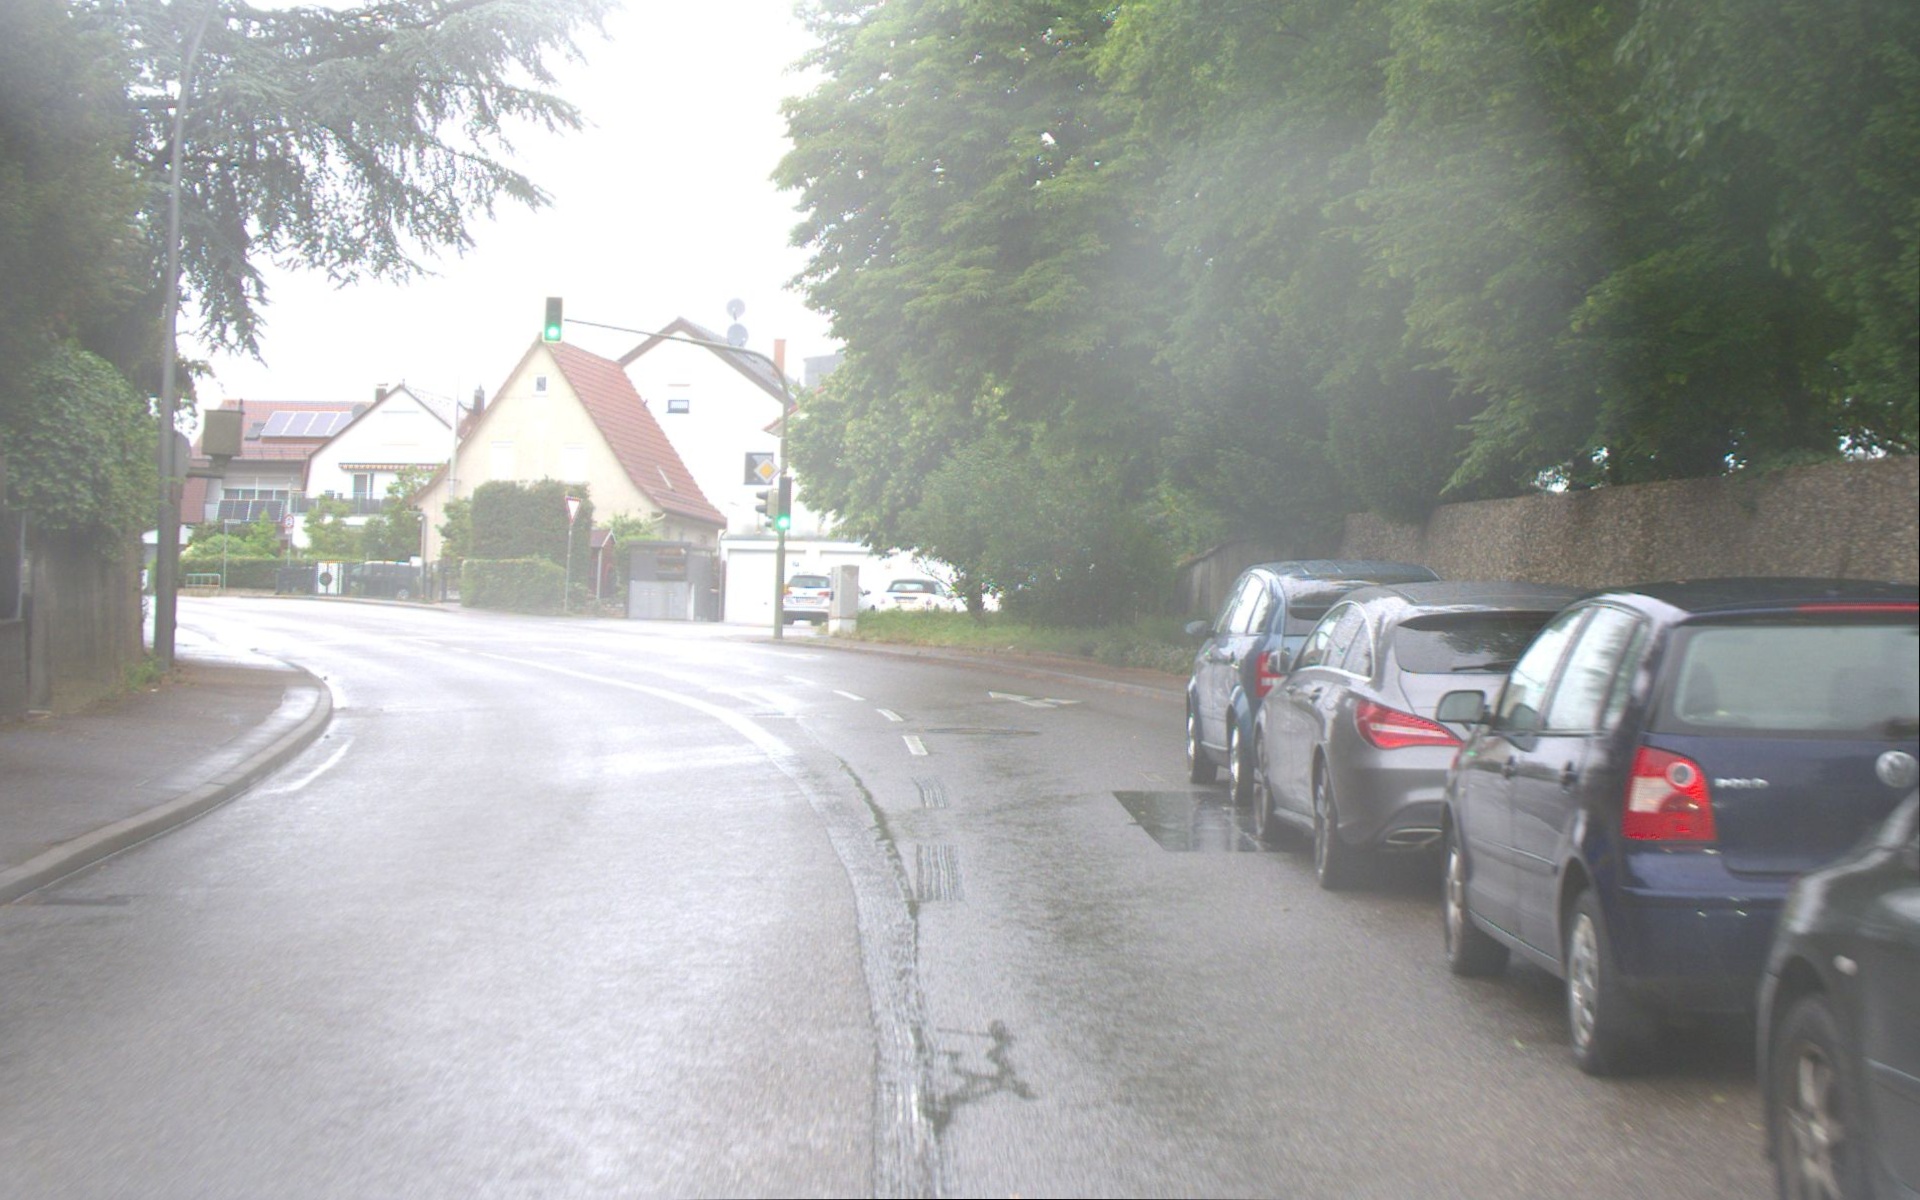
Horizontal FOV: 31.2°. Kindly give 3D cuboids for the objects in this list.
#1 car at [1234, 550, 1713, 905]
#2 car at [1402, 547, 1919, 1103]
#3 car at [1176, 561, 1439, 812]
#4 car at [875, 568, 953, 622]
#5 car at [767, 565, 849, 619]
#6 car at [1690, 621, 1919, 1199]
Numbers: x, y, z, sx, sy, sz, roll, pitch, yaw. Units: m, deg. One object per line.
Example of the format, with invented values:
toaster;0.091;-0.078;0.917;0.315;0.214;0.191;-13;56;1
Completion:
car;2.407;0.567;17.089;1.647;1.492;4.246;2;0;-1
car;2.558;0.637;11.264;1.647;1.492;3.709;2;0;-1
car;2.230;0.535;22.679;1.302;1.492;3.364;2;0;-1
car;-1.255;-0.152;95.916;1.907;1.437;4.000;1;1;3
car;-4.234;-0.228;96.339;1.907;1.437;4.000;1;1;3
car;2.601;0.775;5.766;1.651;1.367;4.182;1;1;-3
